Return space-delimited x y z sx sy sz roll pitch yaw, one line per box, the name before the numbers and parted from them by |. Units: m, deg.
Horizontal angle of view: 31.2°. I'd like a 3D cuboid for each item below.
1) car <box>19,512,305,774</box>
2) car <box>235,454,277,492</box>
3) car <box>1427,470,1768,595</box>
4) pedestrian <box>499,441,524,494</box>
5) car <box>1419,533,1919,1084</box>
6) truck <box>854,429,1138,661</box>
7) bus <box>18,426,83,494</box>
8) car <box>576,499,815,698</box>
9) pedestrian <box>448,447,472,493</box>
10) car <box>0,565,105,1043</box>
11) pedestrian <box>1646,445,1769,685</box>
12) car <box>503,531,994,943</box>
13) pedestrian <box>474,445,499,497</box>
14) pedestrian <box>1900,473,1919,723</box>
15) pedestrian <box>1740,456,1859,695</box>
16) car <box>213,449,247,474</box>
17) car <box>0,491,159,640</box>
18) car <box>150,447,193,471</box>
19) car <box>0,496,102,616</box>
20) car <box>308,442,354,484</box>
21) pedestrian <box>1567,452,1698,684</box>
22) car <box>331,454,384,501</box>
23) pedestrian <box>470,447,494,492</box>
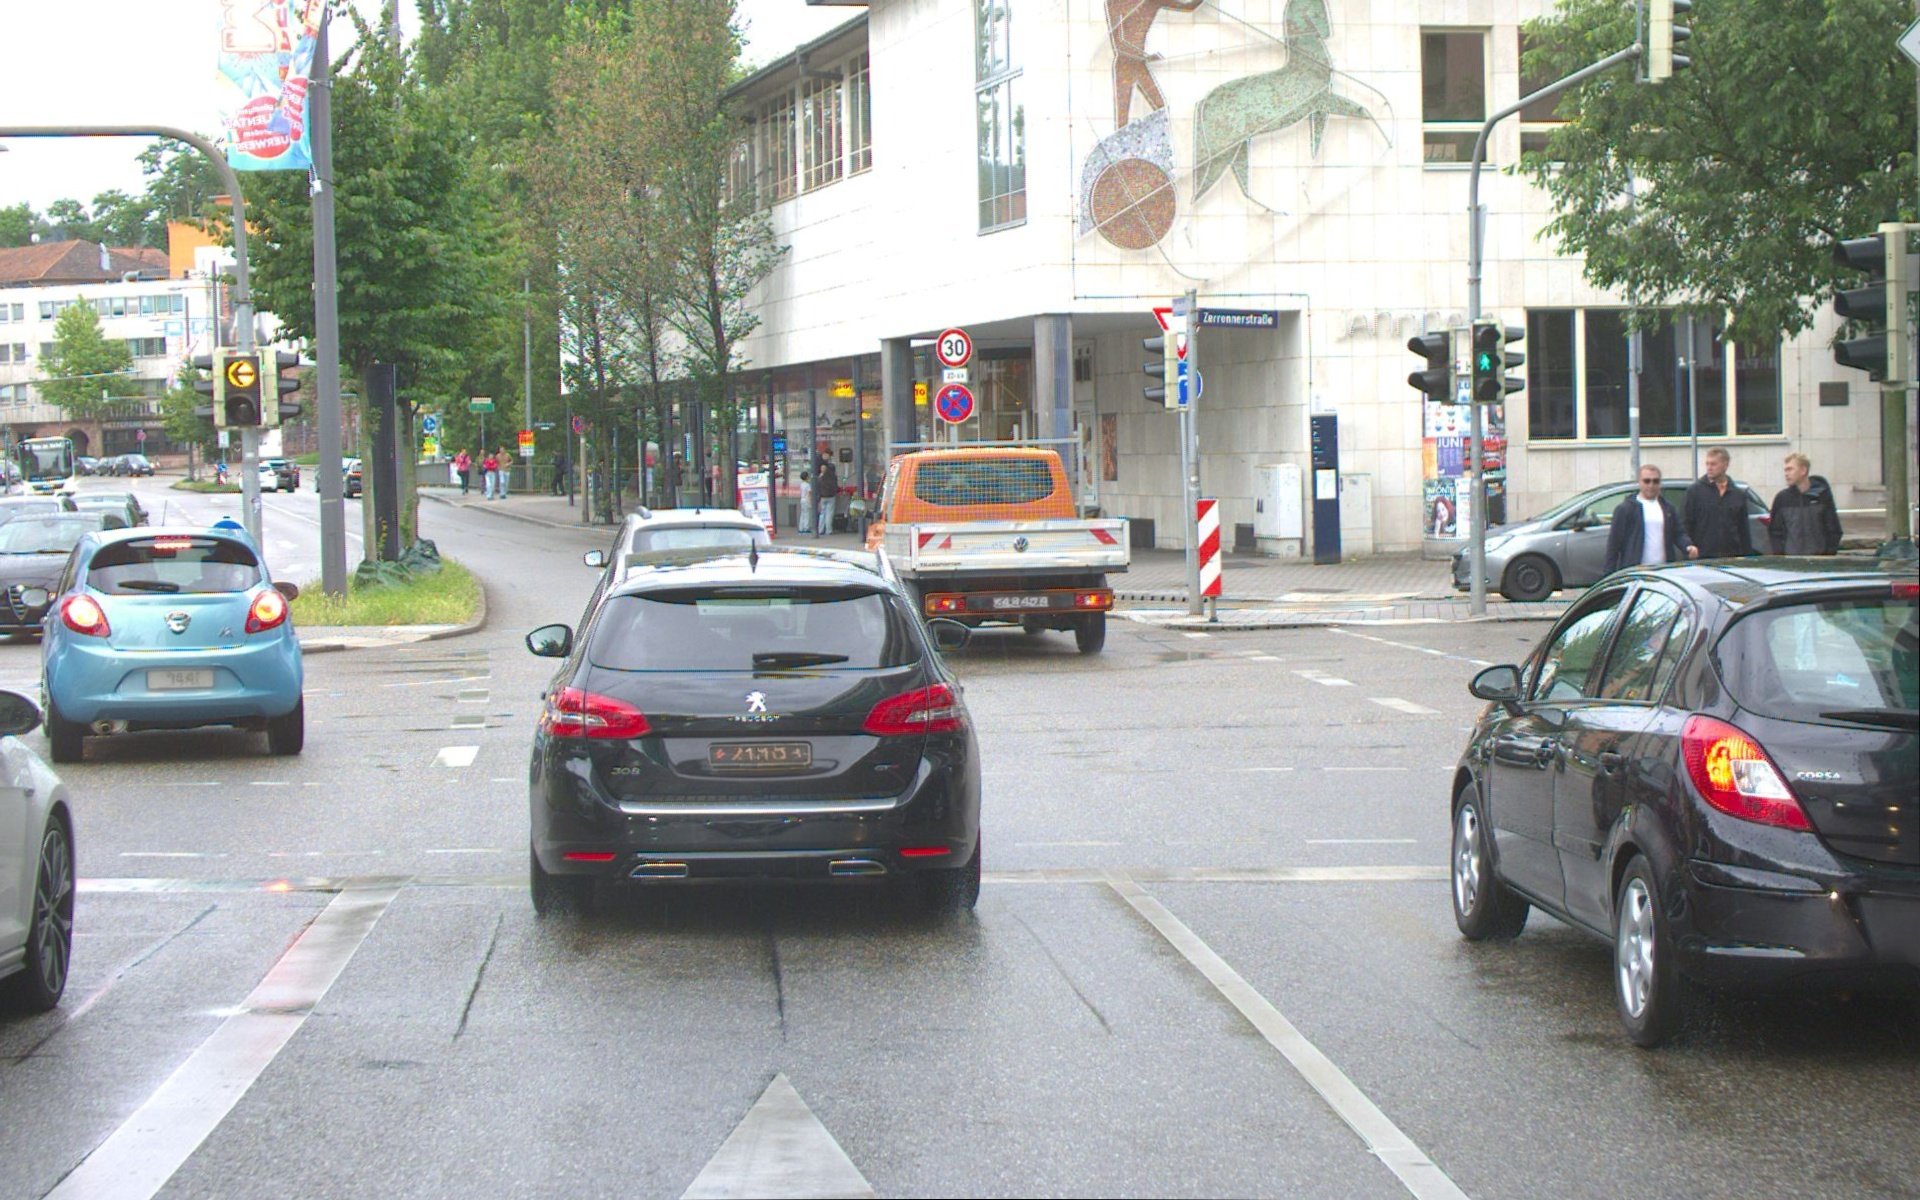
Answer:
car | -5.442 0.219 23.340 1.695 1.469 3.692 -2 4 -14
car | -31.992 -5.740 156.165 1.644 1.559 3.601 1 0 -14
car | 7.744 -0.827 41.943 3.988 1.471 1.999 0 2 10
pedestrian | -15.469 -4.573 118.535 0.698 1.795 0.607 -3 3 -14
car | 2.728 0.542 11.433 1.708 1.452 3.743 0 2 -3
truck | 0.256 -0.567 33.161 2.121 2.018 4.717 -2 2 -6
bus | -45.583 -7.072 172.042 2.743 3.064 12.243 -2 4 -16
car | -2.311 -0.076 29.206 1.794 1.478 4.001 -2 3 -7
pedestrian | -18.084 -4.715 124.389 0.717 1.614 0.770 -3 3 -14
car | -3.698 0.609 9.575 1.765 1.404 4.001 1 1 -2
pedestrian | 6.034 -0.287 27.783 0.758 1.895 0.790 -1 1 -2
car | -0.873 0.465 14.621 1.794 1.478 4.001 0 2 -3
pedestrian | -16.299 -4.452 118.395 0.653 1.761 0.923 -3 3 -14
pedestrian | 6.646 -0.015 22.674 0.574 1.657 0.940 -3 2 0
pedestrian | 6.790 -0.201 27.828 0.732 1.889 0.676 -1 1 -3
car | -51.198 -9.718 240.999 1.993 1.678 4.002 -2 3 -17
car | -10.260 -0.426 39.128 1.622 1.550 3.660 -2 3 -4
car | -57.581 -10.287 250.948 1.645 1.559 3.599 1 0 -39
car | -14.407 -0.685 52.245 1.827 1.730 4.311 -2 2 -3
car | -26.247 -5.692 143.401 1.644 1.559 3.601 1 0 -14
pedestrian | 5.288 -0.254 27.065 0.748 1.773 0.888 -1 1 -6
car | -22.550 -4.571 128.615 1.644 1.559 3.601 1 0 -14
pedestrian | -17.318 -4.742 124.527 0.725 1.584 0.607 -3 3 -14
